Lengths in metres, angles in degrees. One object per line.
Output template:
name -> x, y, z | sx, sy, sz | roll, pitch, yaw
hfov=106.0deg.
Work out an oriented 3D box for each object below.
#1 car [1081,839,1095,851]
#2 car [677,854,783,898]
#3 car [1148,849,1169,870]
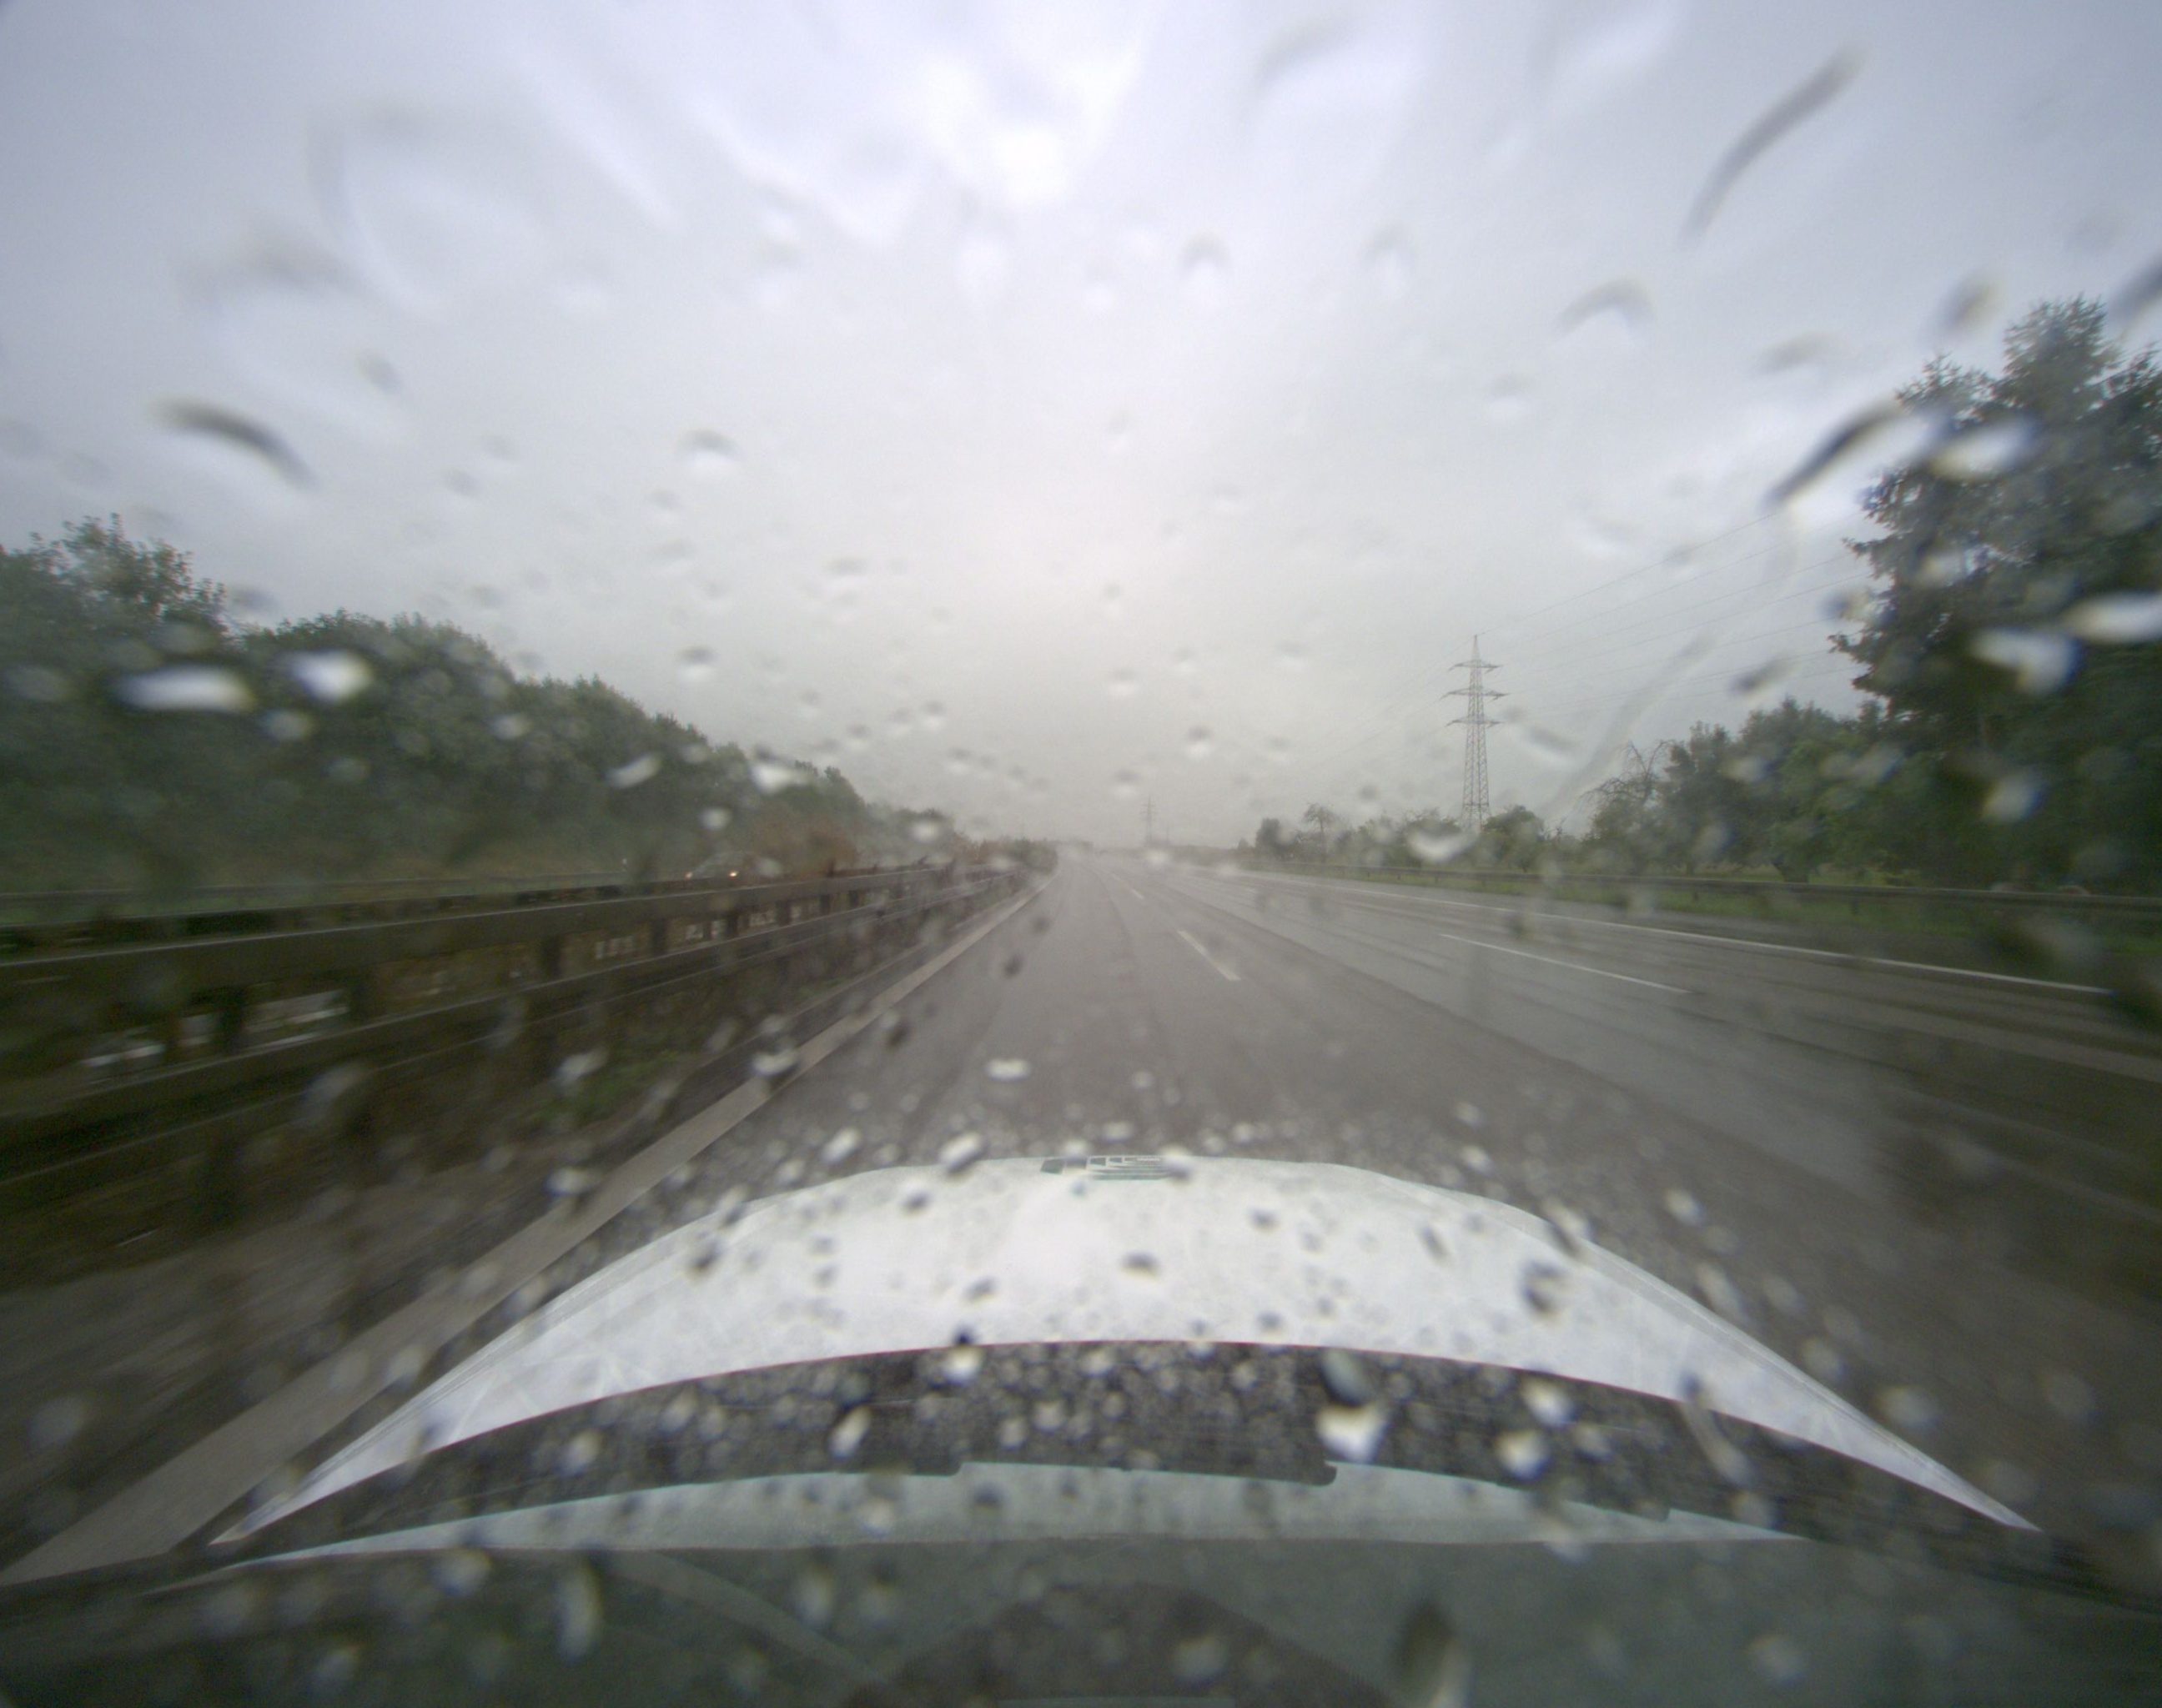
car -> 1.930, -2.495, 217.933 | 3.194, 3.192, 7.246 | 0, 0, -4
car -> -12.417, 0.741, 29.083 | 1.987, 1.464, 4.000 | 0, 0, 1
car -> 8.037, 0.566, 84.522 | 1.802, 2.158, 3.998 | 0, 0, -1
